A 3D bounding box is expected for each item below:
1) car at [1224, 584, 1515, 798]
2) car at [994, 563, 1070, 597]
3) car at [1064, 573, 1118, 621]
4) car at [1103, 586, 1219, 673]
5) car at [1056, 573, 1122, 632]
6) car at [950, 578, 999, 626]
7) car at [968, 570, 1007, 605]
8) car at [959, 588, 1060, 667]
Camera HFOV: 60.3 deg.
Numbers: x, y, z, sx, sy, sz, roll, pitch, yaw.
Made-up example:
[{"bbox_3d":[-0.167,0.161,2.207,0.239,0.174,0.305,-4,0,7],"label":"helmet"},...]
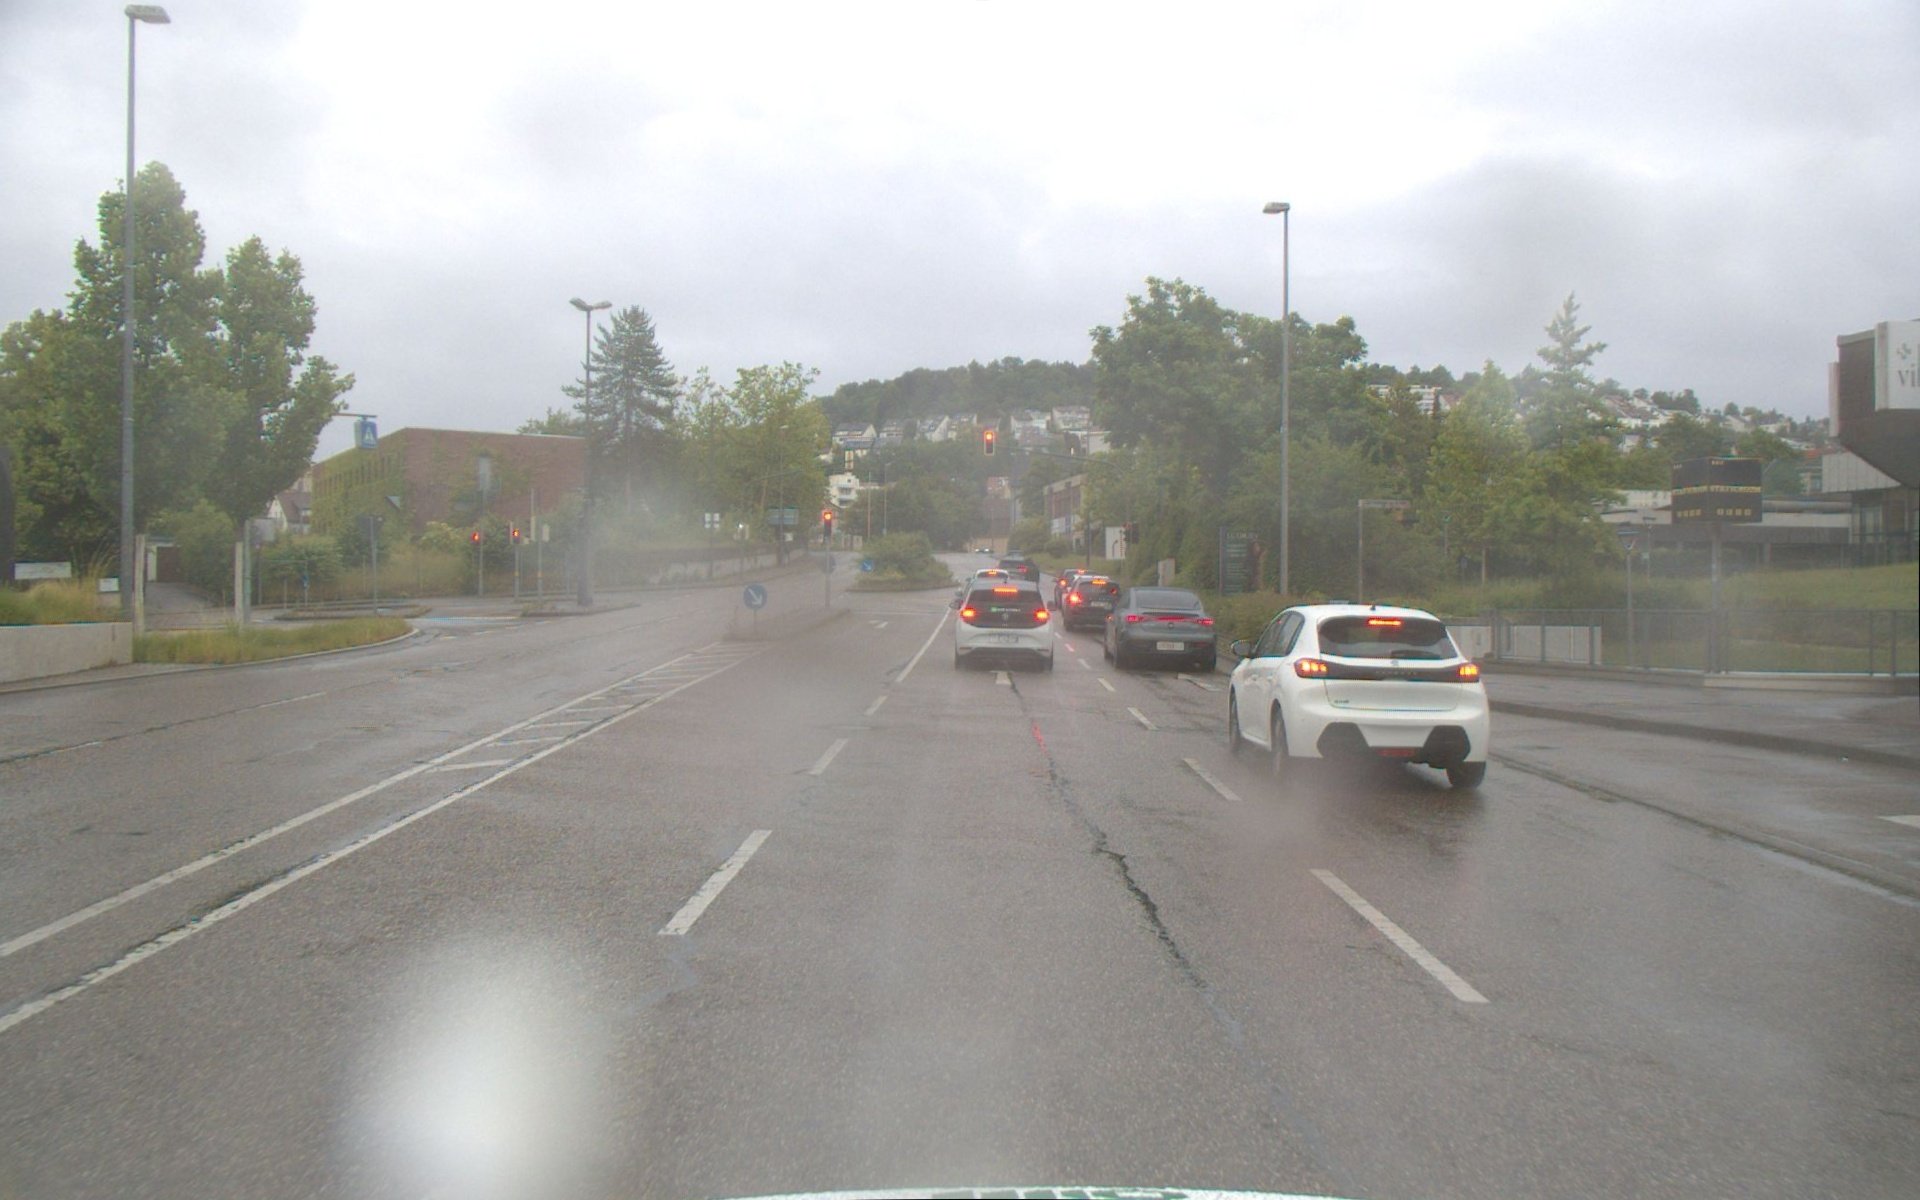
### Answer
[{"bbox_3d":[3.463,0.684,14.707,1.656,1.545,3.934,1,2,1],"label":"car"},{"bbox_3d":[3.683,-0.982,84.402,3.483,1.597,1.779,1,-3,-34],"label":"car"},{"bbox_3d":[4.350,-0.079,55.241,1.533,1.422,3.957,-1,-2,1],"label":"car"},{"bbox_3d":[3.751,0.512,31.345,1.699,1.412,3.352,1,2,-1],"label":"car"},{"bbox_3d":[3.608,0.098,46.821,1.614,1.511,3.365,-1,-2,0],"label":"car"},{"bbox_3d":[0.361,0.071,43.360,1.188,1.176,2.269,-1,-2,-2],"label":"car"},{"bbox_3d":[1.020,-0.444,60.027,1.356,1.146,2.610,-1,-2,2],"label":"car"},{"bbox_3d":[0.853,0.495,29.813,1.705,1.318,3.333,-1,-1,0],"label":"car"}]
